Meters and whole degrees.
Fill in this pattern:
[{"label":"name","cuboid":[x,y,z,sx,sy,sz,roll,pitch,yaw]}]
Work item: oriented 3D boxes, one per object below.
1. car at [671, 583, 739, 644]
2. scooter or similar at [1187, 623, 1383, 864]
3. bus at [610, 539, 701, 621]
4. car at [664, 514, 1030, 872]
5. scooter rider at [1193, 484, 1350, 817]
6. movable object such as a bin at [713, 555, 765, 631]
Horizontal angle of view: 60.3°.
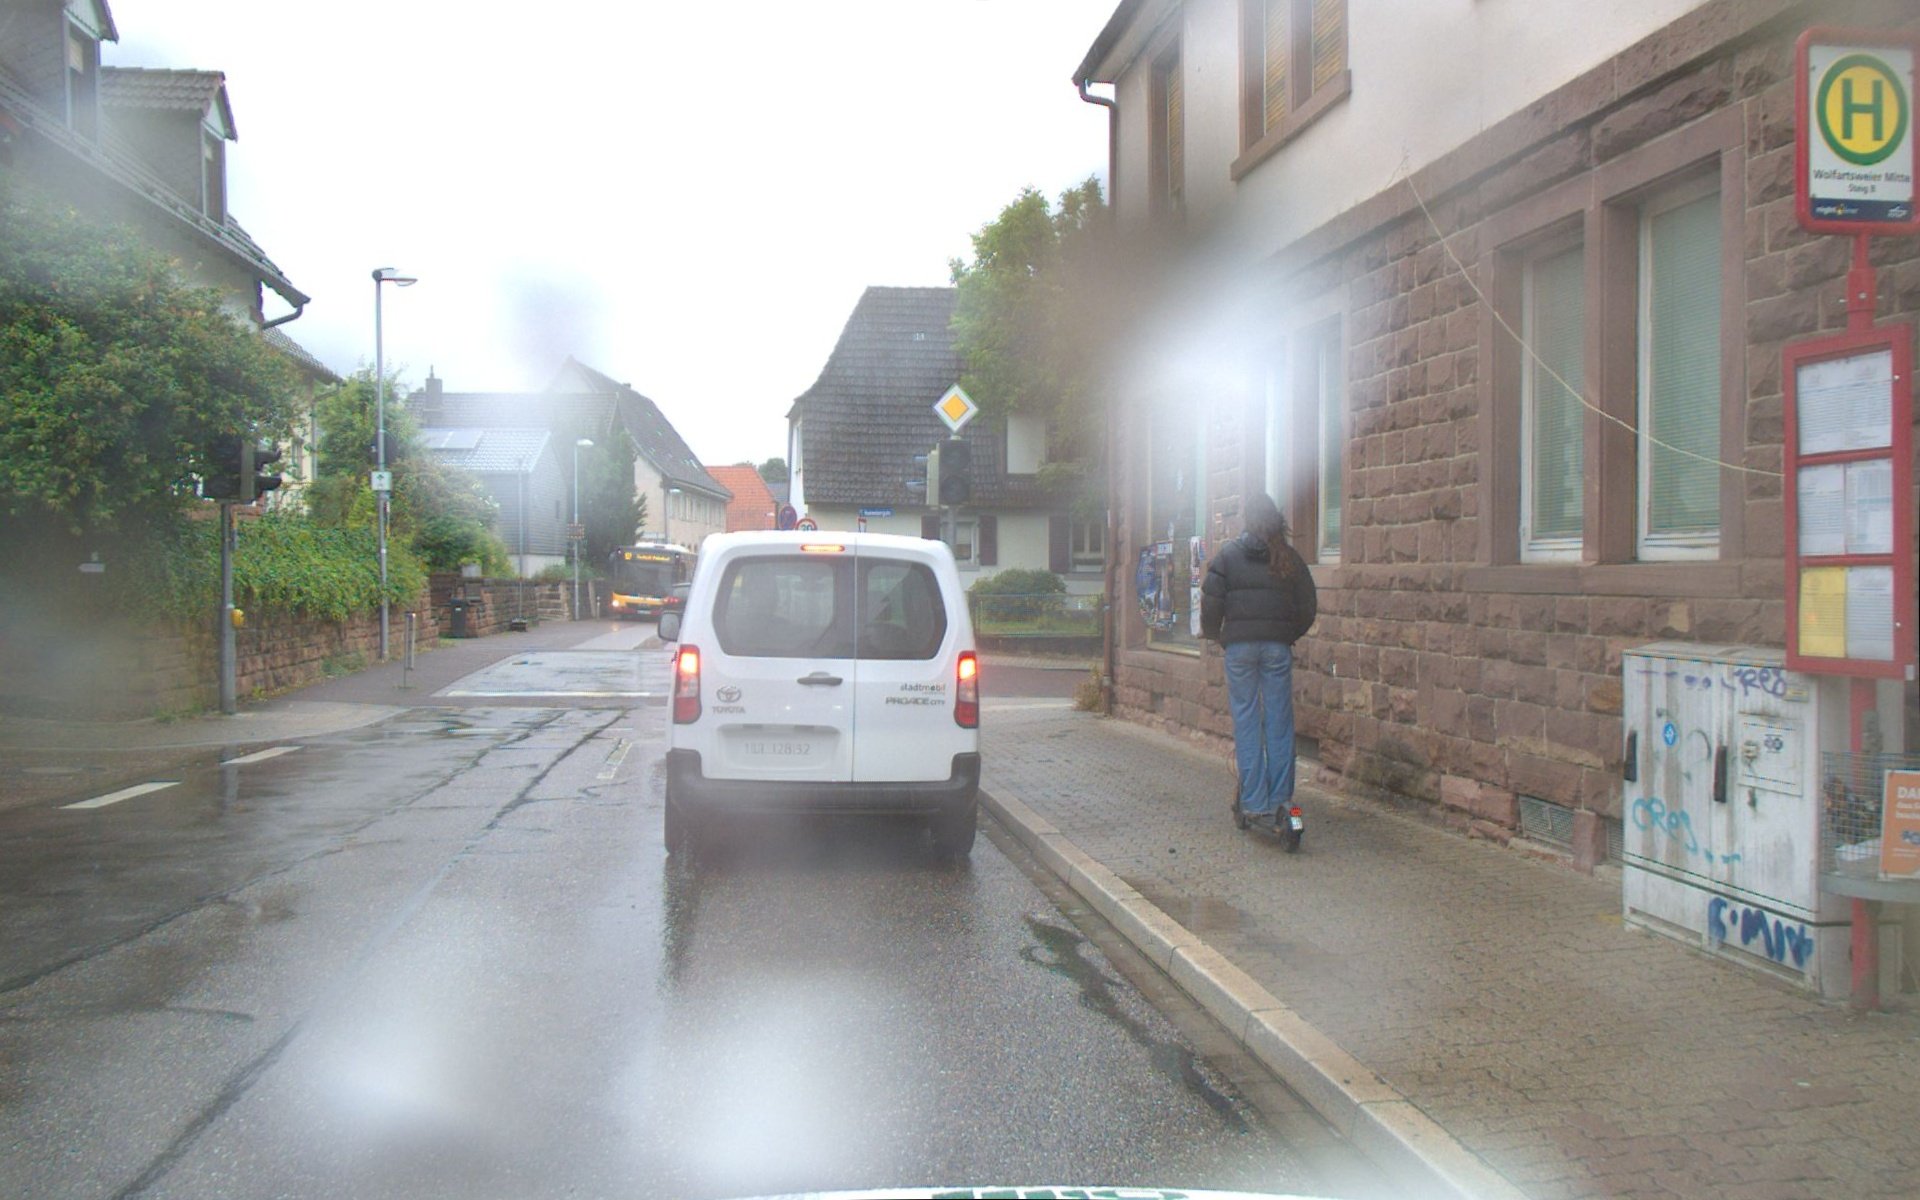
[{"label":"car","cuboid":[-7.193,0.343,46.909,1.775,1.624,3.749,1,0,-8]},{"label":"scooter or similar","cuboid":[1.719,0.722,8.945,0.609,1.146,1.399,0,1,-8]},{"label":"bus","cuboid":[-12.326,-0.973,67.928,2.598,3.051,12.180,1,2,-6]},{"label":"car","cuboid":[-0.836,0.472,10.465,1.859,1.825,3.806,1,0,-8]},{"label":"scooter rider","cuboid":[1.702,0.268,9.087,0.717,1.763,0.517,0,0,-9]},{"label":"movable object such as a bin","cuboid":[-8.229,-0.288,61.740,1.693,2.699,3.970,1,0,-5]}]
